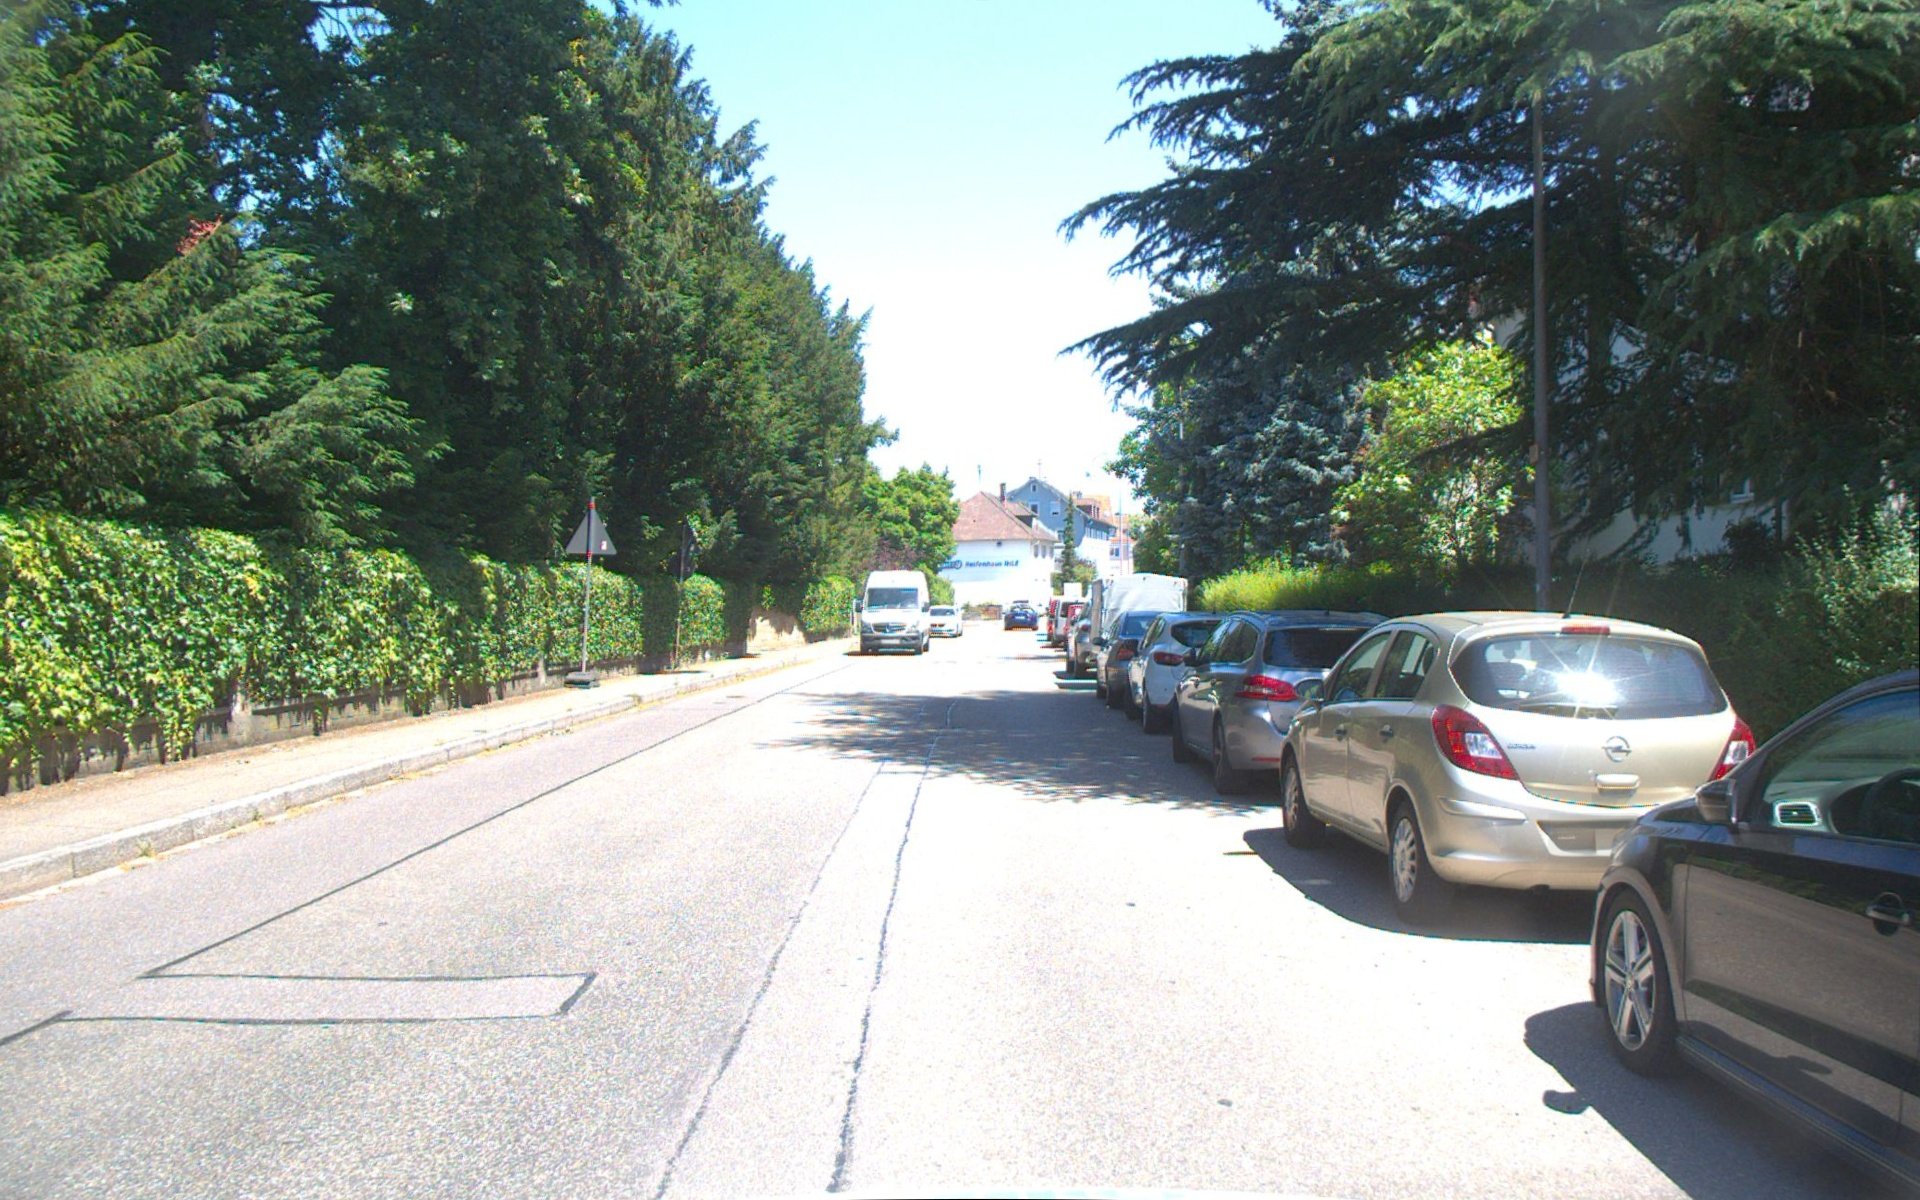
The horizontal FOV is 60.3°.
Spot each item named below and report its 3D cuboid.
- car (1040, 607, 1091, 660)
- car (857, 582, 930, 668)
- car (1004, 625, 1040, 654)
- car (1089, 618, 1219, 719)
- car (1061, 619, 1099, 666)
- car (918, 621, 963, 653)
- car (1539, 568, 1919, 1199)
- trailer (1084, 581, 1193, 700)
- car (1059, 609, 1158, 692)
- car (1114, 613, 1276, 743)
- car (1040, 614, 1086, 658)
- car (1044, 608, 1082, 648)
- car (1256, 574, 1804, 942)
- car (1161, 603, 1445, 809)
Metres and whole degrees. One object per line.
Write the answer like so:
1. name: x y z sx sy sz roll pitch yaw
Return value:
1. car: 3.834 1.200 60.547 1.710 1.813 4.544 1 -1 2
2. car: -2.072 0.815 53.105 1.952 2.577 5.894 0 -1 1
3. car: 3.612 2.270 95.311 1.756 1.537 4.002 2 -1 6
4. car: 2.945 1.024 25.807 1.581 1.420 4.259 1 -1 1
5. car: 4.029 1.405 55.673 1.234 1.522 2.710 1 -1 4
6. car: -0.890 1.739 77.752 1.825 1.408 4.606 0 0 3
7. car: 2.946 0.705 4.193 1.549 1.468 4.008 3 -1 1
8. trailer: 3.344 0.733 31.508 1.645 2.104 3.708 1 0 0
9. car: 3.166 1.046 36.110 1.735 1.660 4.604 1 0 0
10. car: 2.902 0.920 21.098 1.581 1.495 4.064 0 -1 1
11. car: 4.373 1.523 70.650 1.863 1.758 4.393 1 -1 3
12. car: 5.199 1.419 84.056 1.863 1.958 4.720 0 -1 3
13. car: 2.885 0.743 9.328 1.582 1.539 4.063 3 -1 -1
14. car: 2.835 0.815 14.552 1.581 1.476 4.374 2 -1 0
